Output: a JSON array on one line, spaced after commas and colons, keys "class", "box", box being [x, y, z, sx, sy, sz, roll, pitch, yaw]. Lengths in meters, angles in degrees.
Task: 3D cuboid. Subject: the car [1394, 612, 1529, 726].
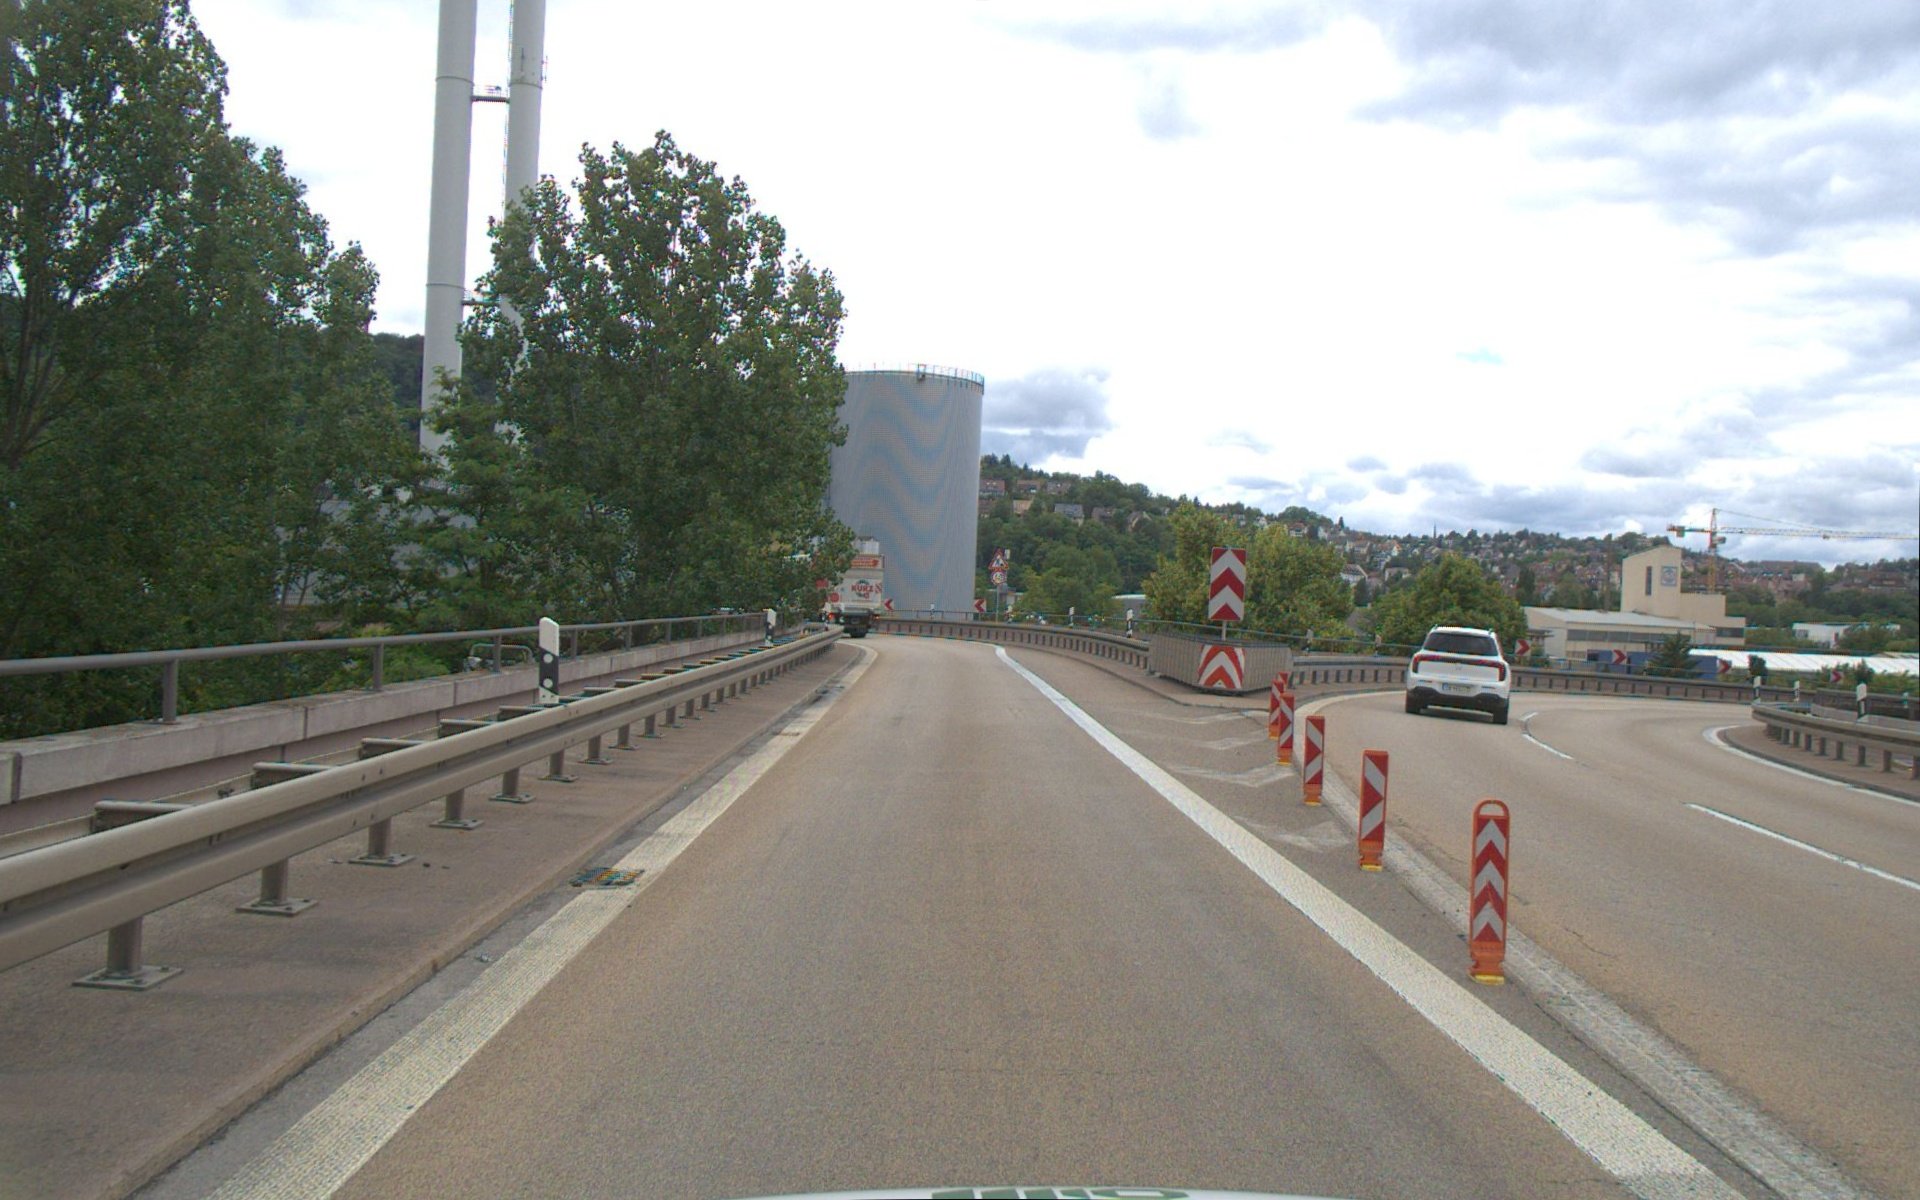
[{"class": "car", "box": [9.478, 1.250, 31.561, 1.884, 1.816, 4.116, 6, 1, 11]}]

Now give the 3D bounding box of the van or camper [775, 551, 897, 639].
[{"class": "van or camper", "box": [-5.663, -0.188, 73.851, 3.077, 3.642, 8.495, 1, 0, -21]}]
